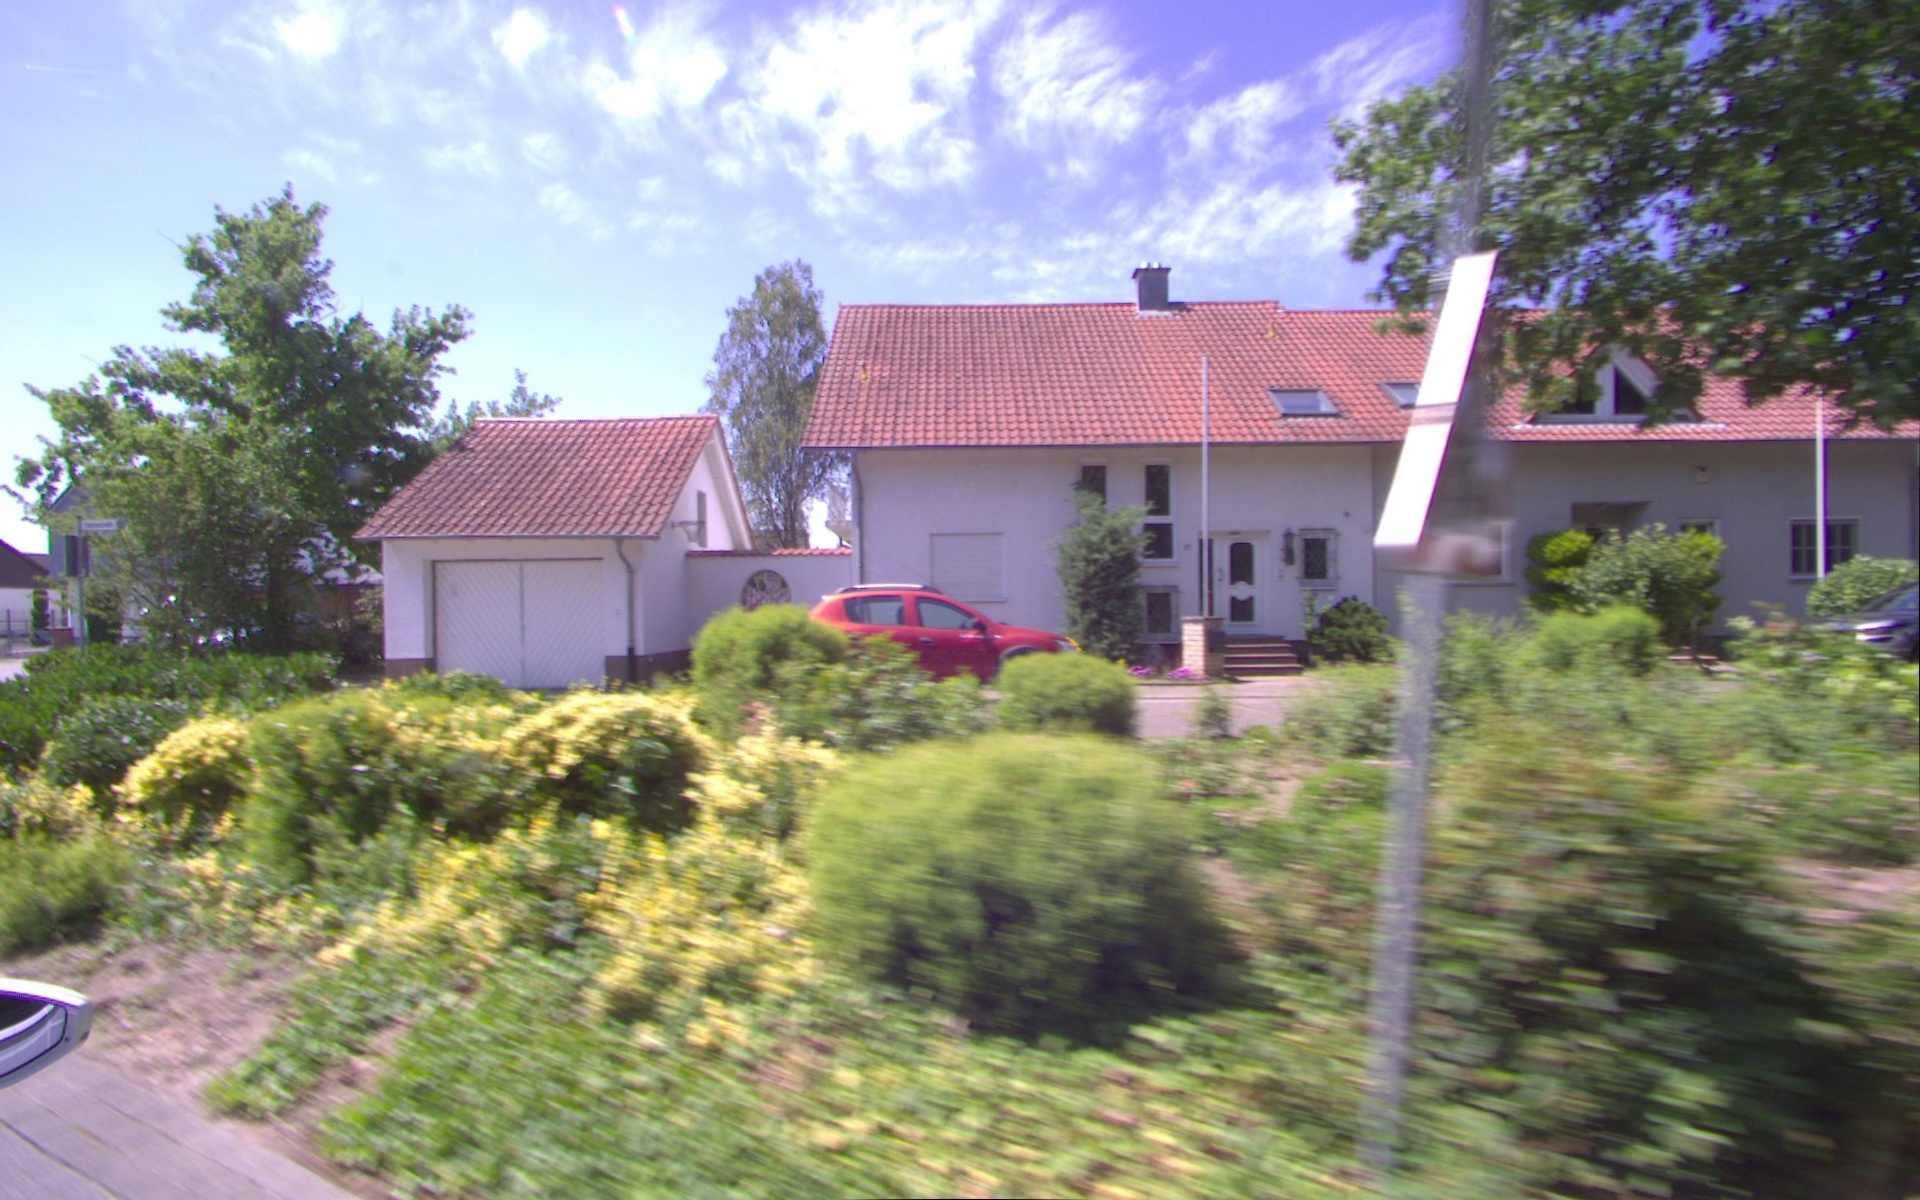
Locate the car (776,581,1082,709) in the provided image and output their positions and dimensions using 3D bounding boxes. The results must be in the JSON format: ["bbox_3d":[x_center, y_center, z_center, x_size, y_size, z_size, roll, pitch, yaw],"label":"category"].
[{"bbox_3d":[-0.388,0.587,13.777,3.948,1.622,1.666,-1,0,1],"label":"car"}]

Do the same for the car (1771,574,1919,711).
[{"bbox_3d":[13.668,0.526,13.600,4.063,1.727,1.666,-1,0,-3],"label":"car"}]
